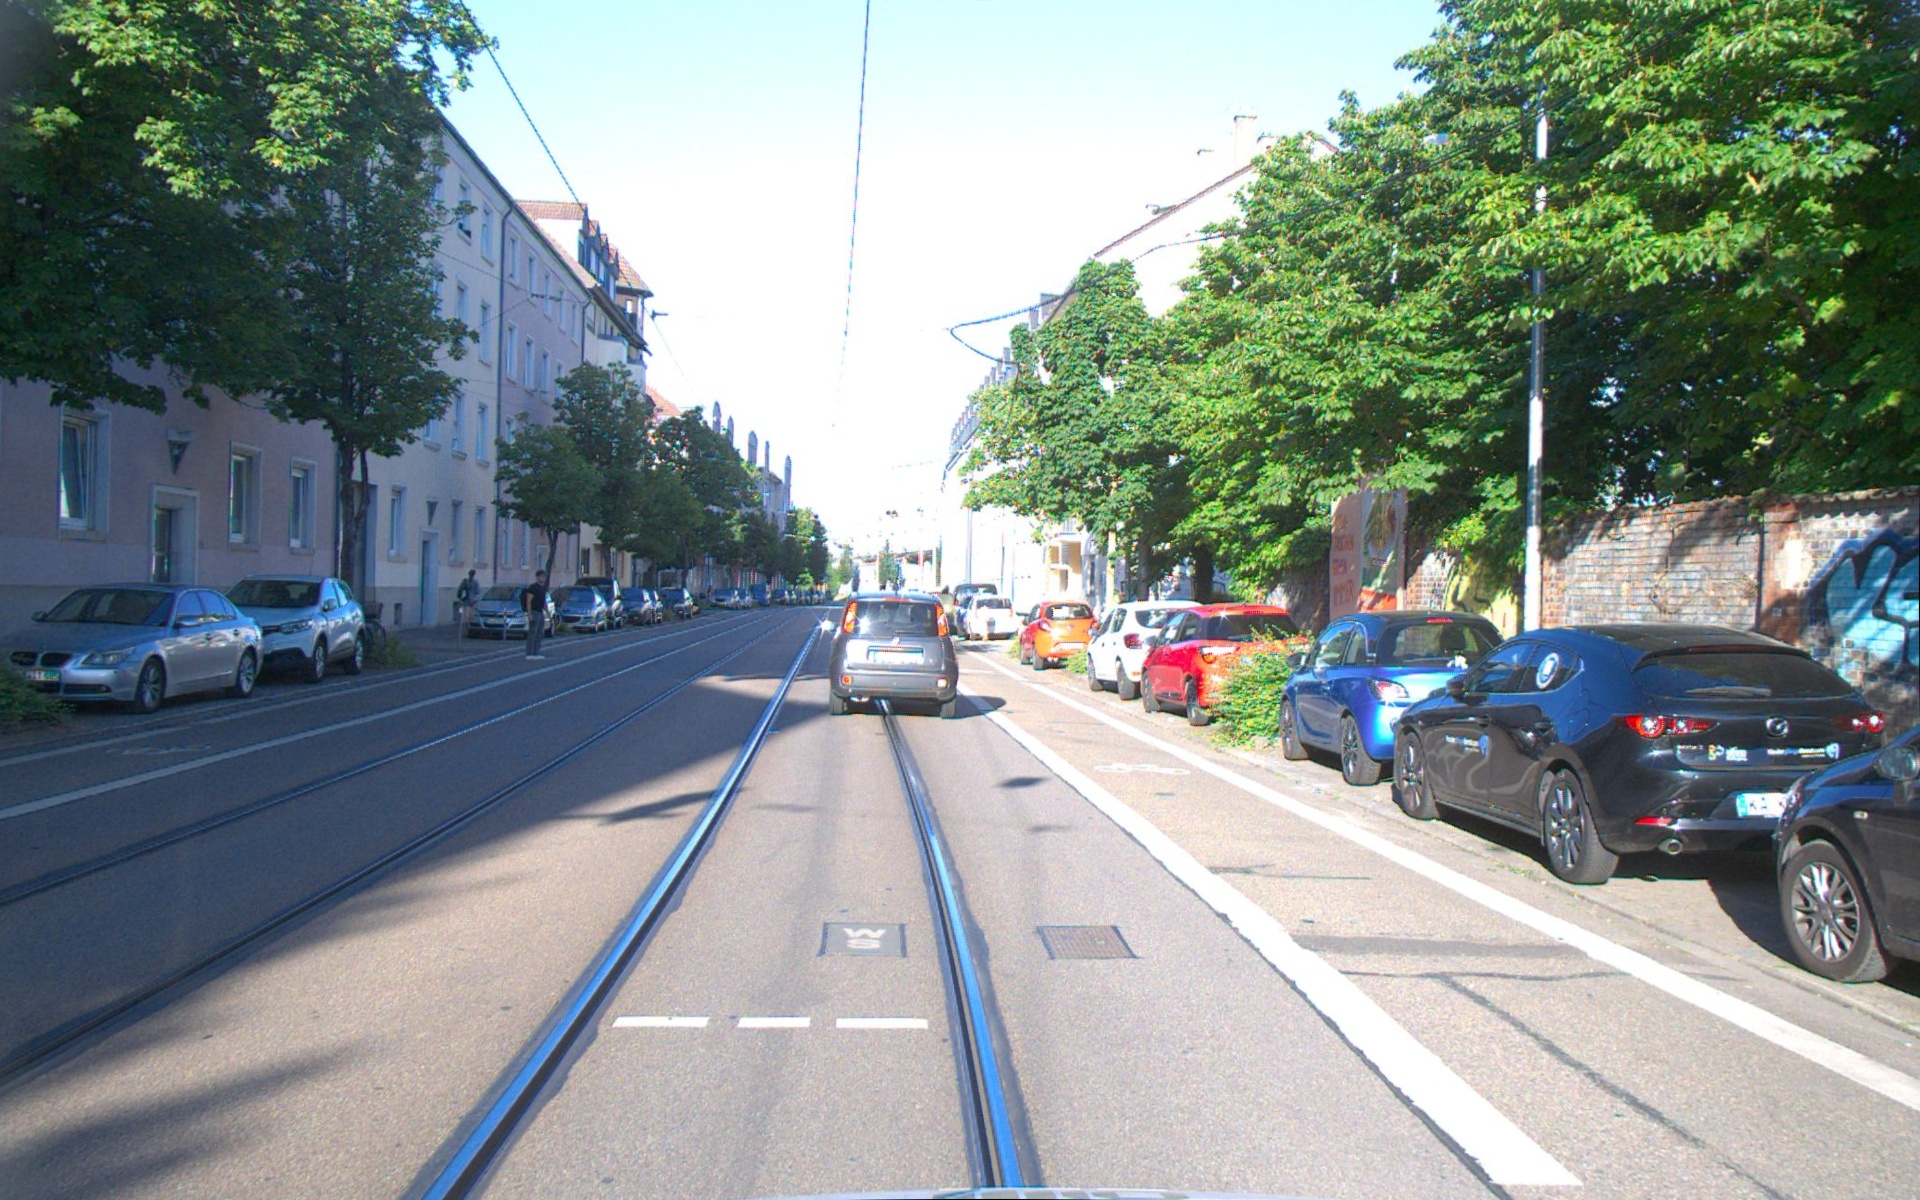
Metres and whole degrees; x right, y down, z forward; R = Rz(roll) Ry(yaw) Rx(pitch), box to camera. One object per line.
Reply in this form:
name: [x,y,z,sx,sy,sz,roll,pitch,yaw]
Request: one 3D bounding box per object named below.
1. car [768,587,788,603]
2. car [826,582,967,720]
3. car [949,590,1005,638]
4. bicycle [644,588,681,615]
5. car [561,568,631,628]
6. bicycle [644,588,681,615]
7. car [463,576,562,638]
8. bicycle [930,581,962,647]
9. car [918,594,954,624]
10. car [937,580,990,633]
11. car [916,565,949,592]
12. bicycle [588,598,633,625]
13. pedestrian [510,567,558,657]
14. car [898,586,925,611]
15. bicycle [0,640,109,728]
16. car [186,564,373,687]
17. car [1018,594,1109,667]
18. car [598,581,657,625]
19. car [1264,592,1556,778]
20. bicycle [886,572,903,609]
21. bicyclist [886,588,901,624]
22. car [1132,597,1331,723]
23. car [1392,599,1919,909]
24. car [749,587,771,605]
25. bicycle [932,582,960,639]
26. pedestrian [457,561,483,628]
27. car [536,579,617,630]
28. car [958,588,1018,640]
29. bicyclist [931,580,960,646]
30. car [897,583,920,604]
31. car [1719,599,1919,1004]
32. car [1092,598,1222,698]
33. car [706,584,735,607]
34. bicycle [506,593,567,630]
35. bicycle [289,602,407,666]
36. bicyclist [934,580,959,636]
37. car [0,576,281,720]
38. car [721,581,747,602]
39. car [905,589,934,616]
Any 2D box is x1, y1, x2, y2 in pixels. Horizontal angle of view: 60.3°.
car: [-17.700,-0.497,160.954,1.673,1.523,3.719,2,0,-3]
car: [-0.881,0.589,21.758,1.617,1.568,4.231,2,0,-4]
car: [0.592,0.469,59.907,1.623,1.598,3.872,2,0,-5]
bicycle: [-14.233,0.051,79.205,1.696,1.217,0.372,3,0,-8]
car: [-12.981,-0.075,59.187,1.773,1.977,4.330,2,0,-4]
bicycle: [-14.312,0.056,79.595,1.696,1.217,0.372,3,0,-8]
car: [-12.039,0.171,44.730,1.773,1.534,4.187,2,0,-4]
bicycle: [-0.401,0.386,46.365,0.662,1.777,2.155,2,0,-5]
car: [-1.271,0.460,85.998,1.552,1.430,3.373,-2,1,-5]
car: [0.101,0.238,65.625,1.623,1.978,4.660,2,0,-5]
car: [-1.546,-1.171,91.690,1.552,1.430,3.373,2,0,-5]
bicycle: [-13.315,0.423,63.097,1.601,0.953,0.516,3,0,-9]
pedestrian: [-8.648,0.236,33.549,0.838,1.808,0.730,0,1,-24]
car: [-3.294,-0.115,112.503,1.552,1.627,3.373,2,0,-5]
bicycle: [-9.940,0.839,16.974,2.086,0.839,0.476,3,0,-5]
car: [-10.509,0.352,25.844,1.620,1.697,4.288,2,0,-8]
car: [2.300,0.655,37.611,1.603,1.534,3.394,-1,0,-4]
car: [-13.339,0.110,66.631,1.773,1.648,4.061,2,0,-4]
car: [4.144,0.707,15.872,1.654,1.557,3.999,0,0,-1]
bicycle: [-3.747,-0.557,94.334,0.727,2.049,2.809,2,0,-5]
bicyclist: [-3.800,0.331,94.475,0.701,2.049,0.831,2,0,-5]
car: [3.583,0.737,22.539,1.656,1.557,3.994,0,0,-7]
car: [4.199,0.781,10.606,1.654,1.557,4.354,0,0,-1]
car: [-17.567,-0.376,145.369,1.673,1.523,3.719,2,0,-3]
bicycle: [-0.455,0.326,53.654,0.662,1.777,2.155,2,0,-5]
pedestrian: [-13.974,-0.156,47.157,0.526,1.858,0.542,2,0,-5]
car: [-12.384,0.126,53.670,1.773,1.534,4.677,2,0,-4]
car: [0.921,0.446,55.820,1.623,1.598,3.496,2,0,-5]
bicyclist: [-0.398,0.365,46.238,0.685,1.789,0.757,2,0,-5]
car: [-4.098,-0.526,131.252,1.552,1.627,3.373,2,0,-5]
car: [4.539,0.781,6.038,1.654,1.557,3.999,0,0,-1]
car: [3.238,0.743,27.853,1.654,1.557,3.999,0,0,-1]
car: [-16.903,-0.355,116.734,1.673,1.523,3.719,2,0,-3]
bicycle: [-12.541,0.335,49.024,1.633,1.019,0.476,3,0,-2]
bicycle: [-10.975,0.605,29.691,1.886,1.064,0.476,3,0,-3]
bicyclist: [-0.450,0.258,53.619,0.685,1.789,0.757,2,0,-5]
car: [-10.054,0.508,20.311,1.655,1.501,4.657,2,0,-3]
car: [-17.893,-0.680,131.099,1.673,1.523,3.719,2,0,-3]
car: [-2.594,0.142,104.906,1.552,1.627,3.373,2,0,-5]
